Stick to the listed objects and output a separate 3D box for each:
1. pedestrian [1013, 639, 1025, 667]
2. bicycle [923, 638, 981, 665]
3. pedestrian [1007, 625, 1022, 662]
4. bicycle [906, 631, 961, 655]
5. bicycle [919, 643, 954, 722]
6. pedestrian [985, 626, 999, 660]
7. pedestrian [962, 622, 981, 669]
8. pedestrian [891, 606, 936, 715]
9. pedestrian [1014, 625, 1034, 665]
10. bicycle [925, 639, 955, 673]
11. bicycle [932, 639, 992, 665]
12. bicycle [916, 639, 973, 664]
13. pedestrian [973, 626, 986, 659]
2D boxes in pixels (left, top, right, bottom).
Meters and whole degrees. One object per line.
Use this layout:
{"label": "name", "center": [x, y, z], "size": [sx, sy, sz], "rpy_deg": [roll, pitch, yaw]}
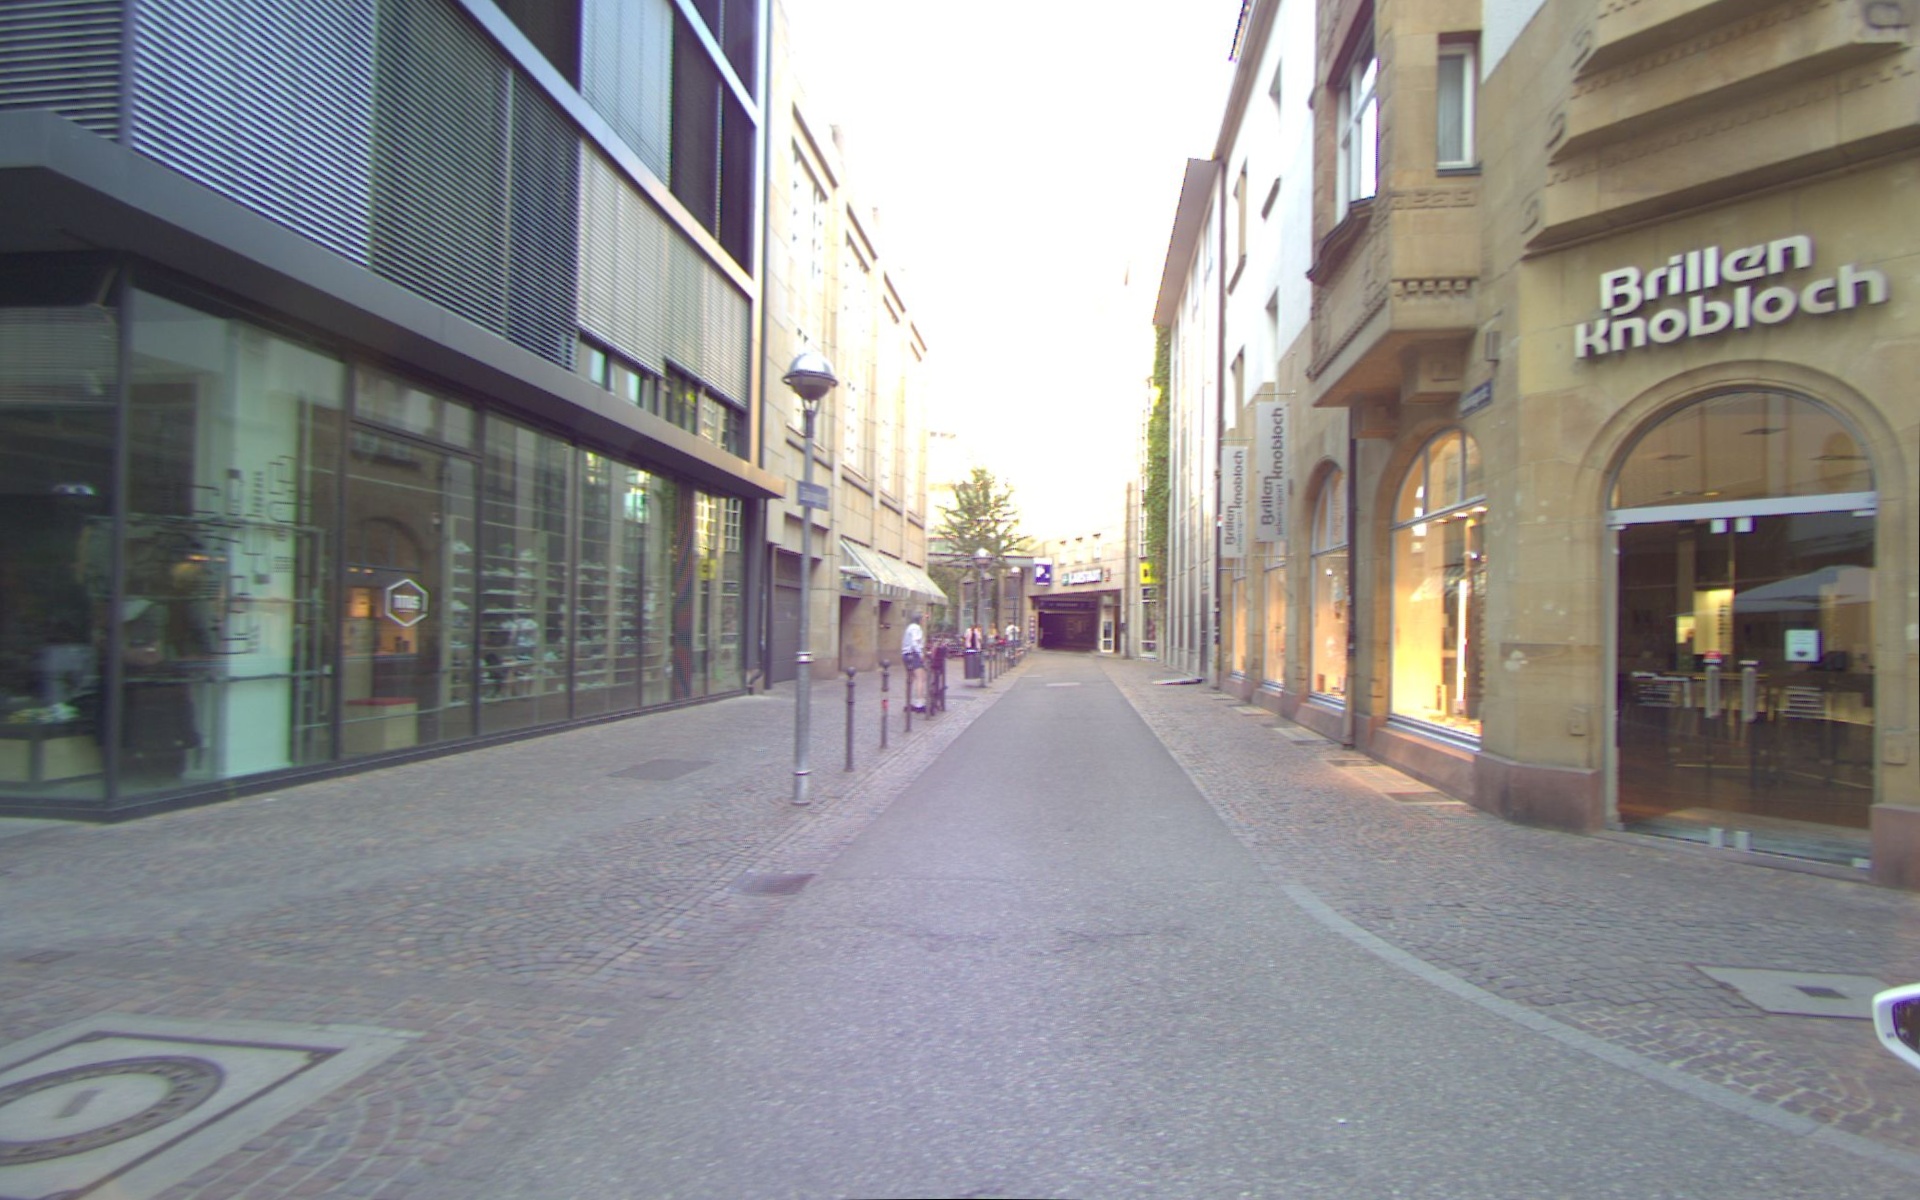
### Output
{"label": "pedestrian", "center": [2.608, 2.335, 44.289], "size": [0.458, 1.183, 0.522], "rpy_deg": [1, -2, 7]}
{"label": "bicycle", "center": [-0.379, 2.491, 48.573], "size": [2.718, 1.216, 0.732], "rpy_deg": [1, -1, -12]}
{"label": "pedestrian", "center": [2.651, 2.100, 48.858], "size": [0.619, 1.780, 0.799], "rpy_deg": [1, -2, 7]}
{"label": "bicycle", "center": [-1.380, 2.224, 51.713], "size": [2.718, 1.216, 0.732], "rpy_deg": [1, -1, -12]}
{"label": "bicycle", "center": [-0.388, 1.384, 17.265], "size": [0.404, 1.248, 1.828], "rpy_deg": [1, -1, 4]}
{"label": "pedestrian", "center": [1.580, 2.108, 49.304], "size": [0.574, 1.625, 0.628], "rpy_deg": [1, -2, 7]}
{"label": "pedestrian", "center": [0.429, 1.717, 38.033], "size": [0.646, 1.787, 0.616], "rpy_deg": [1, -1, -7]}
{"label": "pedestrian", "center": [-0.791, 1.033, 17.415], "size": [0.598, 1.814, 0.911], "rpy_deg": [1, -1, 7]}
{"label": "pedestrian", "center": [2.937, 2.048, 46.074], "size": [0.849, 1.780, 0.799], "rpy_deg": [1, -2, 7]}
{"label": "bicycle", "center": [-0.668, 1.895, 34.163], "size": [0.472, 1.095, 2.244], "rpy_deg": [1, -2, 13]}
{"label": "bicycle", "center": [0.093, 2.437, 47.129], "size": [2.718, 1.216, 0.732], "rpy_deg": [1, -1, -12]}
{"label": "bicycle", "center": [-0.757, 2.535, 49.473], "size": [2.718, 1.216, 0.732], "rpy_deg": [1, -1, -12]}
{"label": "pedestrian", "center": [0.980, 2.122, 50.264], "size": [0.580, 1.625, 0.666], "rpy_deg": [1, -2, 8]}
